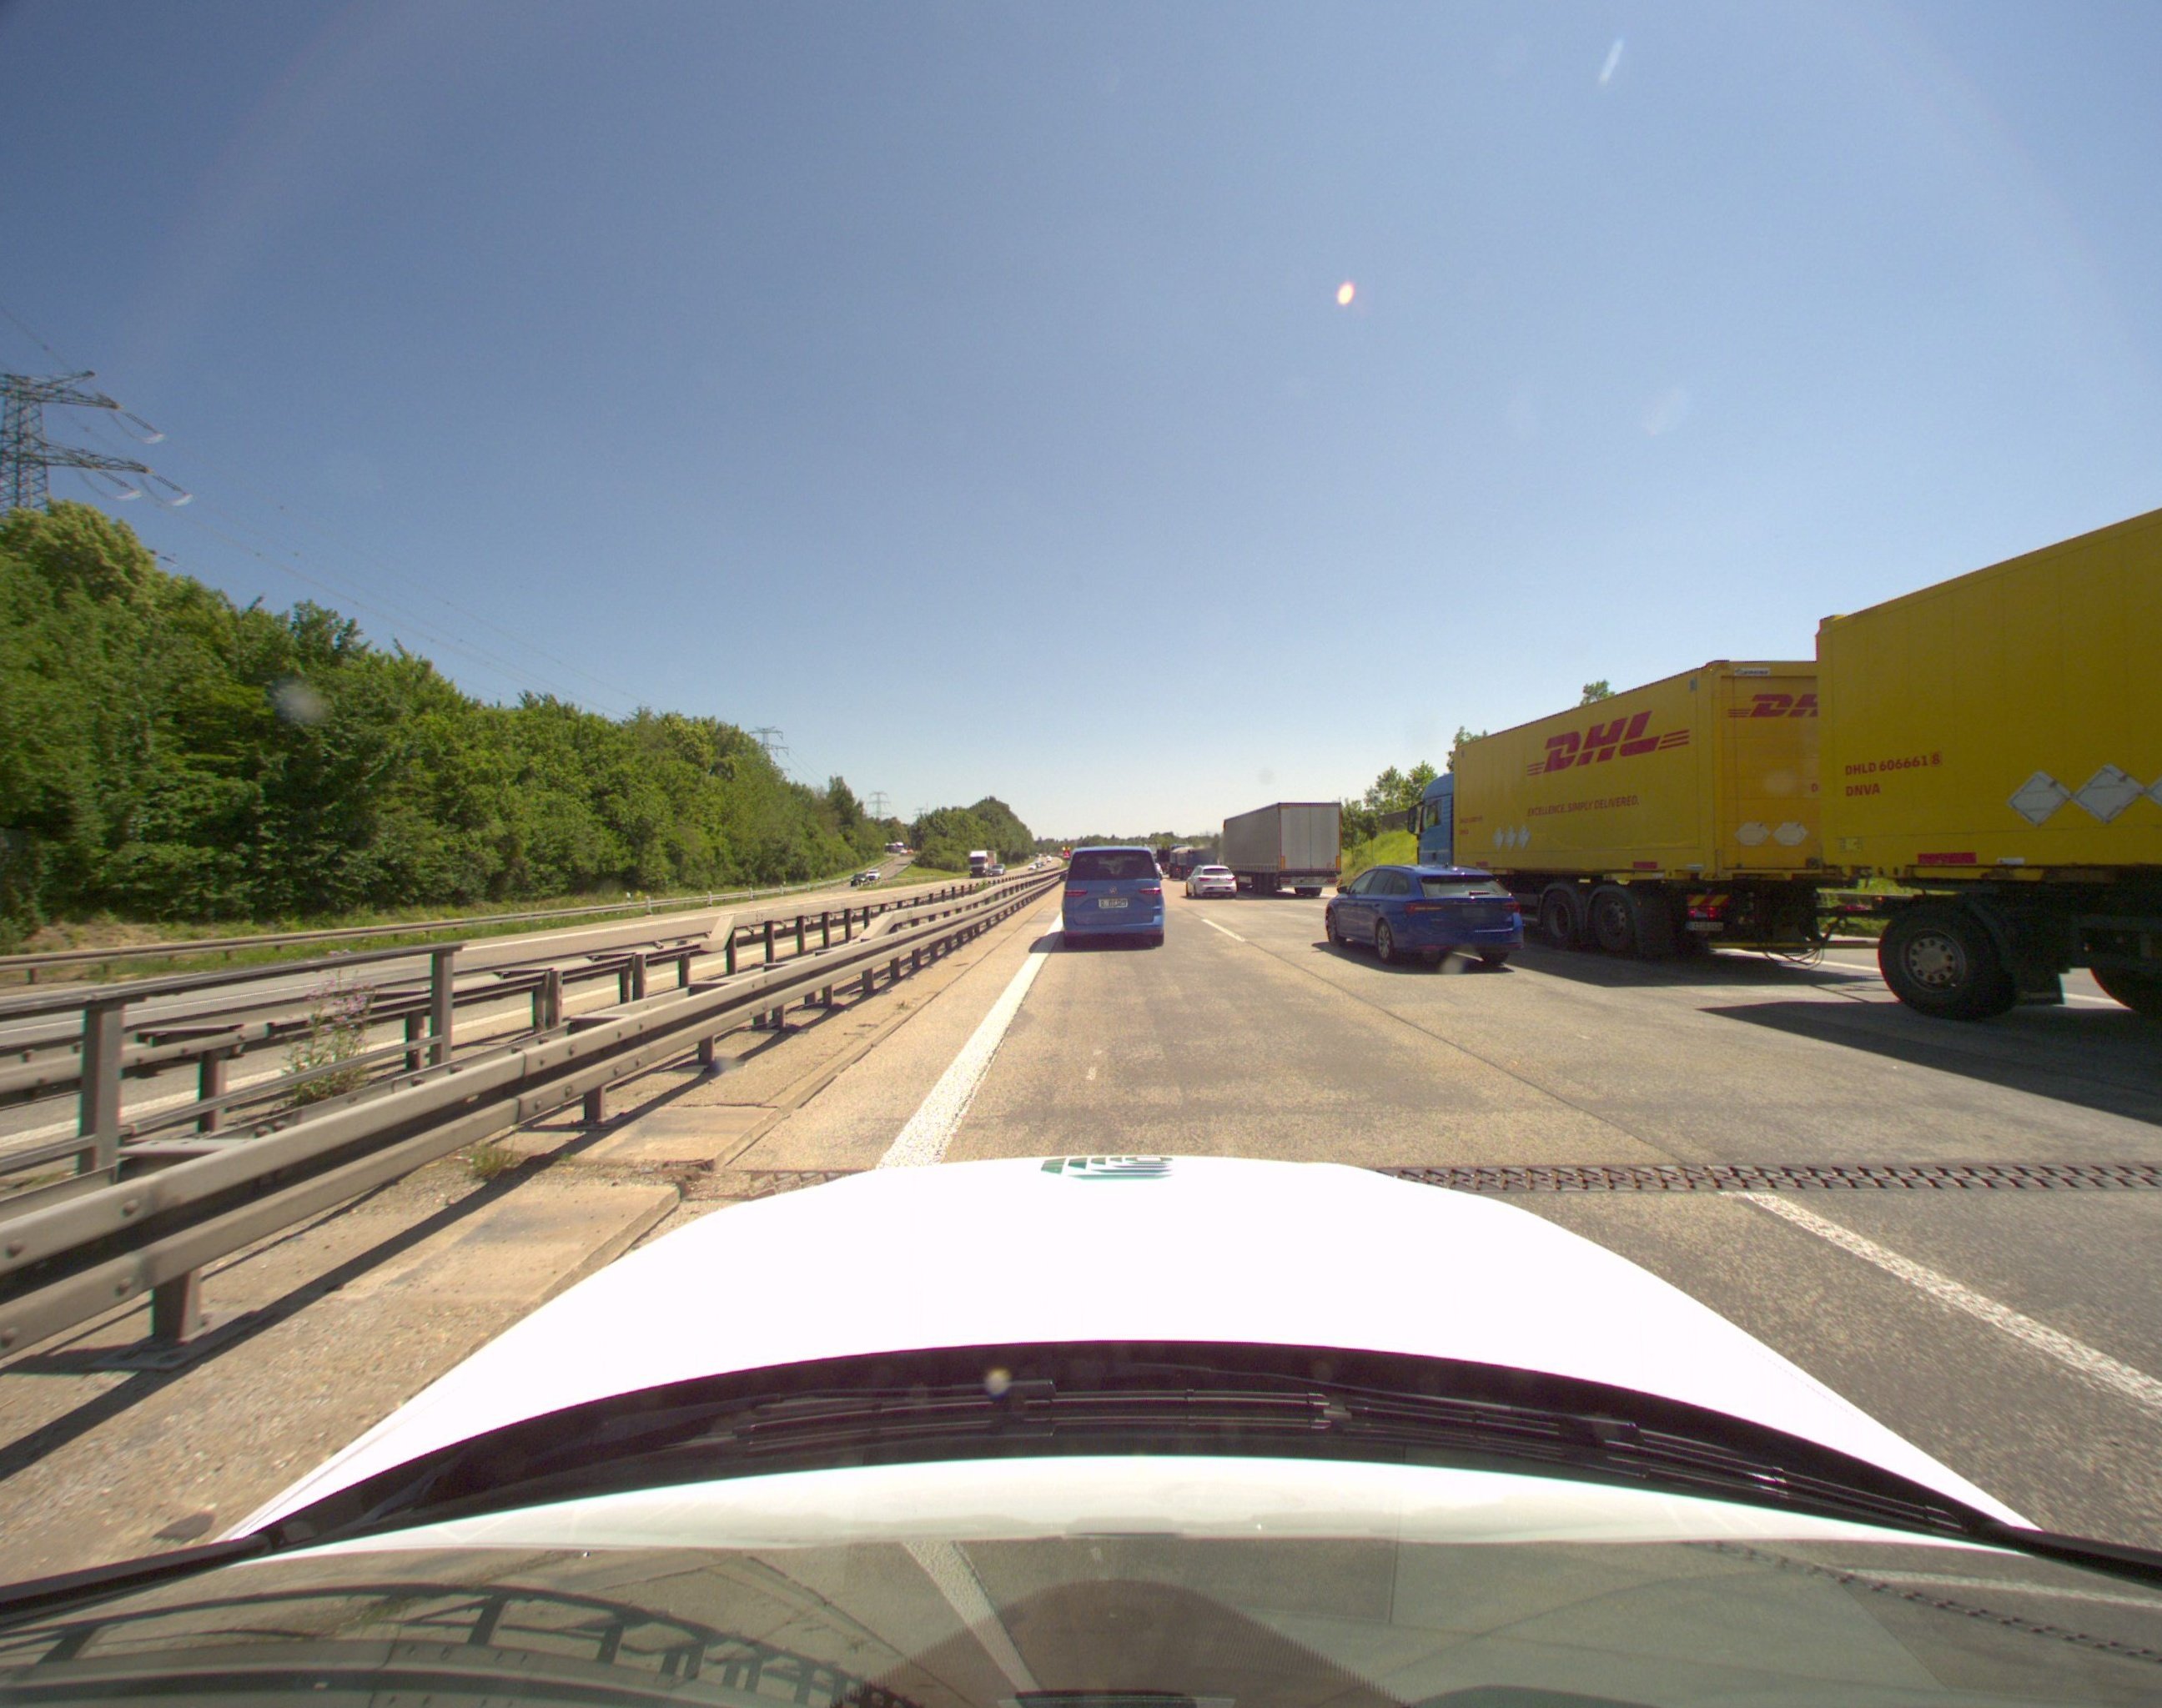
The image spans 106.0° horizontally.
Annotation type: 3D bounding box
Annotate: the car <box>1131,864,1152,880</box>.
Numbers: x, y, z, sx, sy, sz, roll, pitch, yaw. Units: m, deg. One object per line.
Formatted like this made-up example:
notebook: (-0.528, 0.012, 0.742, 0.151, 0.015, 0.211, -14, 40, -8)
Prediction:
car: (6.030, 1.820, 81.319, 1.775, 1.524, 3.999, 0, -2, 0)

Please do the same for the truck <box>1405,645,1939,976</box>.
truck: (9.290, -0.463, 15.076, 2.756, 4.110, 9.952, 0, -1, 1)

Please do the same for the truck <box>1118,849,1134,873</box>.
truck: (9.660, 1.628, 176.537, 3.058, 4.920, 10.687, 0, -2, 0)

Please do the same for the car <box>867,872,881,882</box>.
car: (-30.395, 3.378, 119.561, 1.685, 1.456, 4.330, 0, -2, -10)

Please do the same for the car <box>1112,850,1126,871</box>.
car: (9.689, 1.796, 209.456, 3.207, 5.258, 8.143, 0, -2, 1)

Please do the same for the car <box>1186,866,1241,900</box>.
car: (5.657, 1.221, 35.290, 1.860, 1.361, 4.001, 0, -1, 2)

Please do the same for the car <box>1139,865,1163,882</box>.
car: (6.083, 1.715, 70.921, 1.834, 1.455, 4.000, 0, -2, 1)

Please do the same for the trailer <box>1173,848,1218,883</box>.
trailer: (9.827, 0.910, 70.652, 2.734, 2.836, 9.116, 0, 0, 1)

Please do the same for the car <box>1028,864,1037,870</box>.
car: (-11.317, 3.025, 189.959, 1.845, 1.467, 4.302, -2, -2, -1)

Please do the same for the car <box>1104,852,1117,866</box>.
car: (6.039, 1.048, 165.808, 2.542, 2.718, 5.620, 0, -2, 0)

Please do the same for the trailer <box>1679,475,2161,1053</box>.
trailer: (9.075, -0.639, 5.914, 2.755, 4.118, 9.379, 0, -1, 2)

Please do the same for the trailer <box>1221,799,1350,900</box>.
trailer: (9.504, -0.063, 40.004, 2.952, 4.050, 13.751, -1, -1, 1)

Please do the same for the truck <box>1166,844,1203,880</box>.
truck: (9.882, 0.713, 78.148, 2.734, 3.312, 7.132, 0, 0, 1)

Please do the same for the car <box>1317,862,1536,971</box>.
car: (5.237, 0.895, 13.048, 1.700, 1.441, 4.428, 0, -2, 1)

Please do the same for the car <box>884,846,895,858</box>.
car: (-51.264, -0.506, 217.800, 2.075, 2.880, 6.690, -1, -2, -18)

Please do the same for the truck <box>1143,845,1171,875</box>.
truck: (10.678, 0.949, 114.733, 3.611, 4.095, 7.528, 0, -2, 3)

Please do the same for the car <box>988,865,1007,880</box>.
car: (-11.215, 2.541, 109.925, 1.986, 1.941, 4.897, 0, -2, 1)

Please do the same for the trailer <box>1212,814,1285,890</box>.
trailer: (9.550, -0.067, 47.032, 2.914, 4.044, 6.410, -1, -1, 1)

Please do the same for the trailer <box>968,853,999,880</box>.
trailer: (-15.210, 1.957, 128.528, 2.754, 3.976, 14.680, -3, -1, 1)

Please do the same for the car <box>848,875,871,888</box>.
car: (-27.549, 3.468, 101.375, 1.991, 1.576, 5.262, 0, -2, -6)

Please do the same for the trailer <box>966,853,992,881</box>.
trailer: (-15.273, 1.887, 122.281, 2.748, 3.976, 6.131, -3, -1, 0)

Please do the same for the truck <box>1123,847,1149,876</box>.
truck: (10.296, 1.499, 153.125, 3.611, 5.213, 15.679, 0, -2, -1)

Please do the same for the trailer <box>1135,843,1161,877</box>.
trailer: (10.575, 1.083, 130.345, 3.632, 5.137, 13.081, 0, -2, 3)

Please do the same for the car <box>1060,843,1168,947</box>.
car: (0.650, 0.775, 16.416, 1.894, 1.838, 4.001, 0, -2, 2)

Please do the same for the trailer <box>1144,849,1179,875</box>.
trailer: (10.349, 1.117, 106.158, 3.632, 3.079, 15.779, 0, -2, 3)

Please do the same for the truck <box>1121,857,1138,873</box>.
truck: (5.761, 1.324, 97.189, 1.720, 1.857, 3.999, 0, -2, 0)
